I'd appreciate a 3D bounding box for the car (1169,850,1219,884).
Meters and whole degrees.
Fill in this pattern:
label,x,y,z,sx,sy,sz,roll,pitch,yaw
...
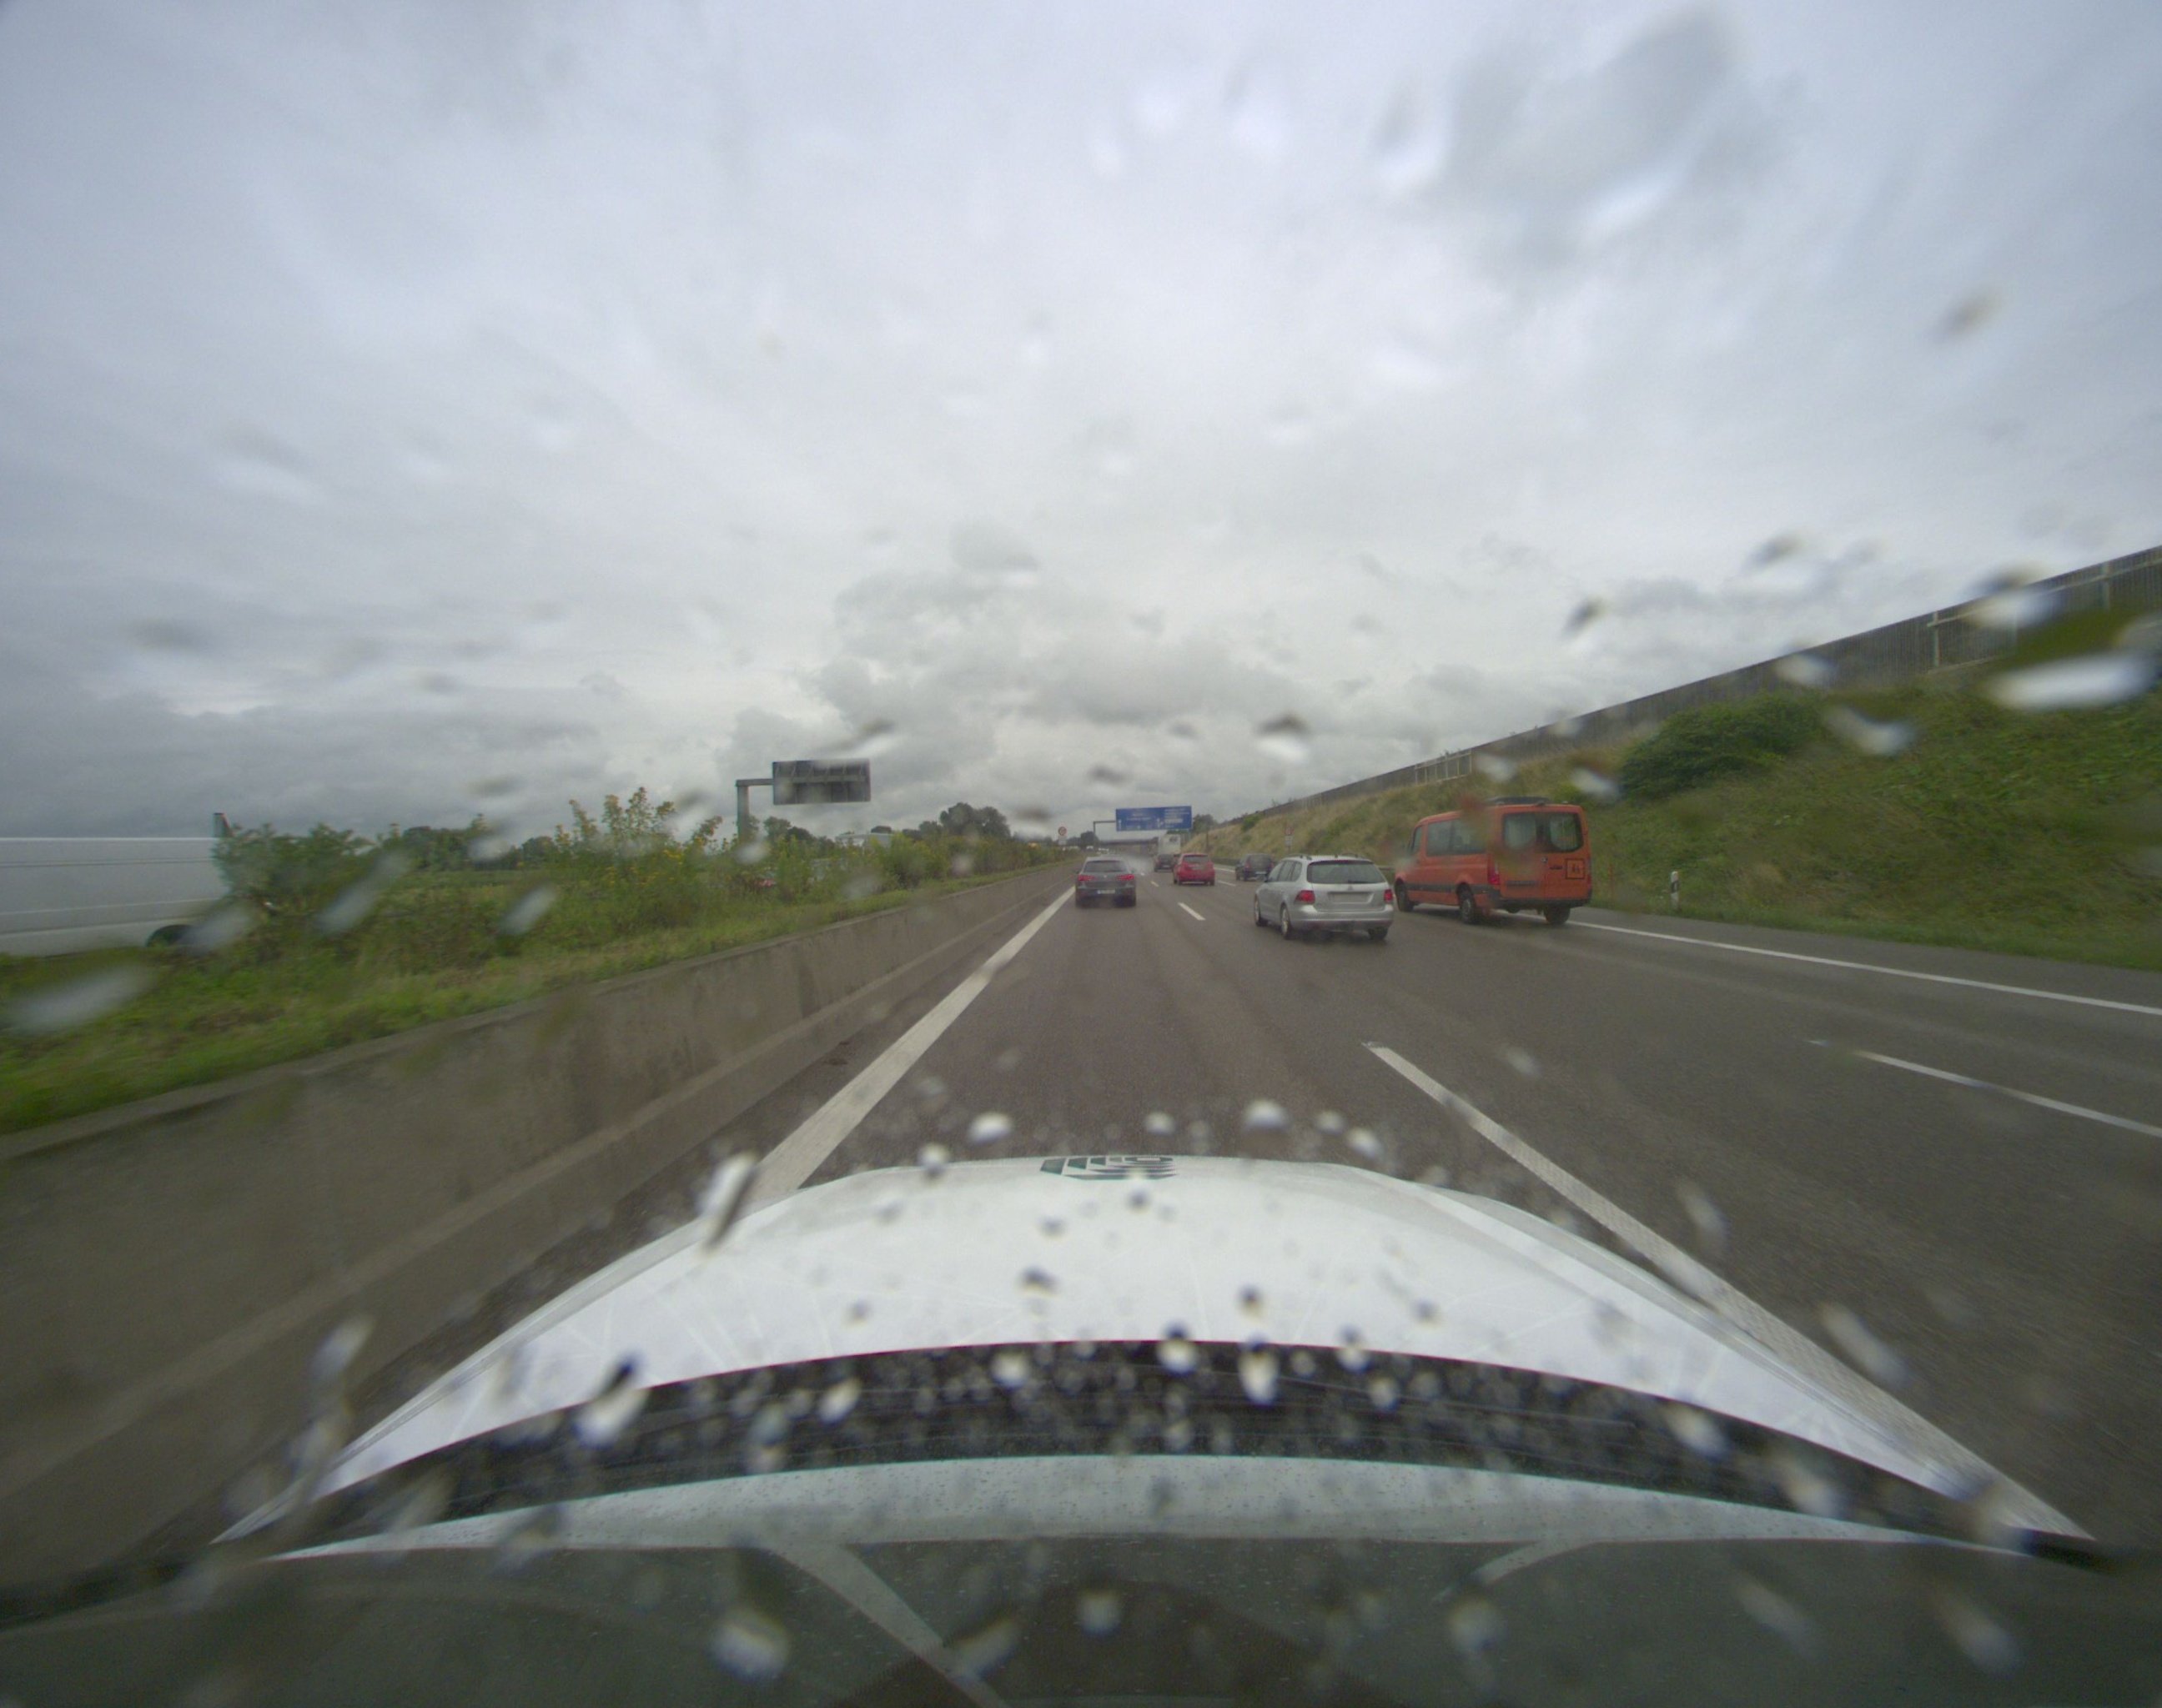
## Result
label,x,y,z,sx,sy,sz,roll,pitch,yaw
car,5.293,0.571,38.811,1.883,1.446,4.687,-1,0,2

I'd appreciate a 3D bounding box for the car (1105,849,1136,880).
label,x,y,z,sx,sy,sz,roll,pitch,yaw
car,2.341,0.590,48.060,1.747,1.750,4.002,0,0,2

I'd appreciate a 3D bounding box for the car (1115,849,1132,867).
label,x,y,z,sx,sy,sz,roll,pitch,yaw
car,4.549,0.460,87.377,1.698,1.796,3.856,-3,0,1

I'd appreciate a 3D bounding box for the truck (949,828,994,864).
label,x,y,z,sx,sy,sz,roll,pitch,yaw
truck,-12.757,-0.859,96.067,3.170,3.967,10.821,0,0,4

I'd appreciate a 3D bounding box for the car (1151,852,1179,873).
label,x,y,z,sx,sy,sz,roll,pitch,yaw
car,6.642,0.665,65.000,1.913,1.522,4.625,-1,0,3

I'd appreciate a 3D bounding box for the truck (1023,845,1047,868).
label,x,y,z,sx,sy,sz,roll,pitch,yaw
truck,-8.970,0.439,159.776,3.398,4.363,11.000,0,0,3

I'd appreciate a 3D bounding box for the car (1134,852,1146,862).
label,x,y,z,sx,sy,sz,roll,pitch,yaw
car,9.899,0.475,136.038,1.839,1.687,4.001,0,0,1

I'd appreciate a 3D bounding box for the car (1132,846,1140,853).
label,x,y,z,sx,sy,sz,roll,pitch,yaw
car,15.072,-1.254,223.049,1.987,2.013,3.999,-2,0,0

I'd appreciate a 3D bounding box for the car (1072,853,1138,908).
label,x,y,z,sx,sy,sz,roll,pitch,yaw
car,0.712,0.724,24.076,1.762,1.467,4.001,0,0,2

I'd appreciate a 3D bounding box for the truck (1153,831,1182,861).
label,x,y,z,sx,sy,sz,roll,pitch,yaw
truck,13.425,-1.113,127.657,3.270,4.295,19.043,0,0,2

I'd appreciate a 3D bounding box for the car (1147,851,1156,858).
label,x,y,z,sx,sy,sz,roll,pitch,yaw
car,19.241,0.074,222.081,1.987,1.860,4.391,-2,0,0

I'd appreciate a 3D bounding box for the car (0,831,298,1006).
label,x,y,z,sx,sy,sz,roll,pitch,yaw
car,-16.730,0.938,12.664,2.237,2.530,6.909,0,0,2

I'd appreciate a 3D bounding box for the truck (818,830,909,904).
label,x,y,z,sx,sy,sz,roll,pitch,yaw
truck,-14.721,0.826,56.099,3.212,4.649,9.680,0,0,3

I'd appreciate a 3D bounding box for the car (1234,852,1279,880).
label,x,y,z,sx,sy,sz,roll,pitch,yaw
car,9.129,0.594,42.583,1.695,1.401,3.878,0,0,3

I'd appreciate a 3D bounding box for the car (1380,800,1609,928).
label,x,y,z,sx,sy,sz,roll,pitch,yaw
car,8.743,0.166,18.087,2.078,2.315,6.184,-1,0,2

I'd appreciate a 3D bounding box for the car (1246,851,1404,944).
label,x,y,z,sx,sy,sz,roll,pitch,yaw
car,4.321,0.681,15.178,1.735,1.425,4.520,-2,0,2
